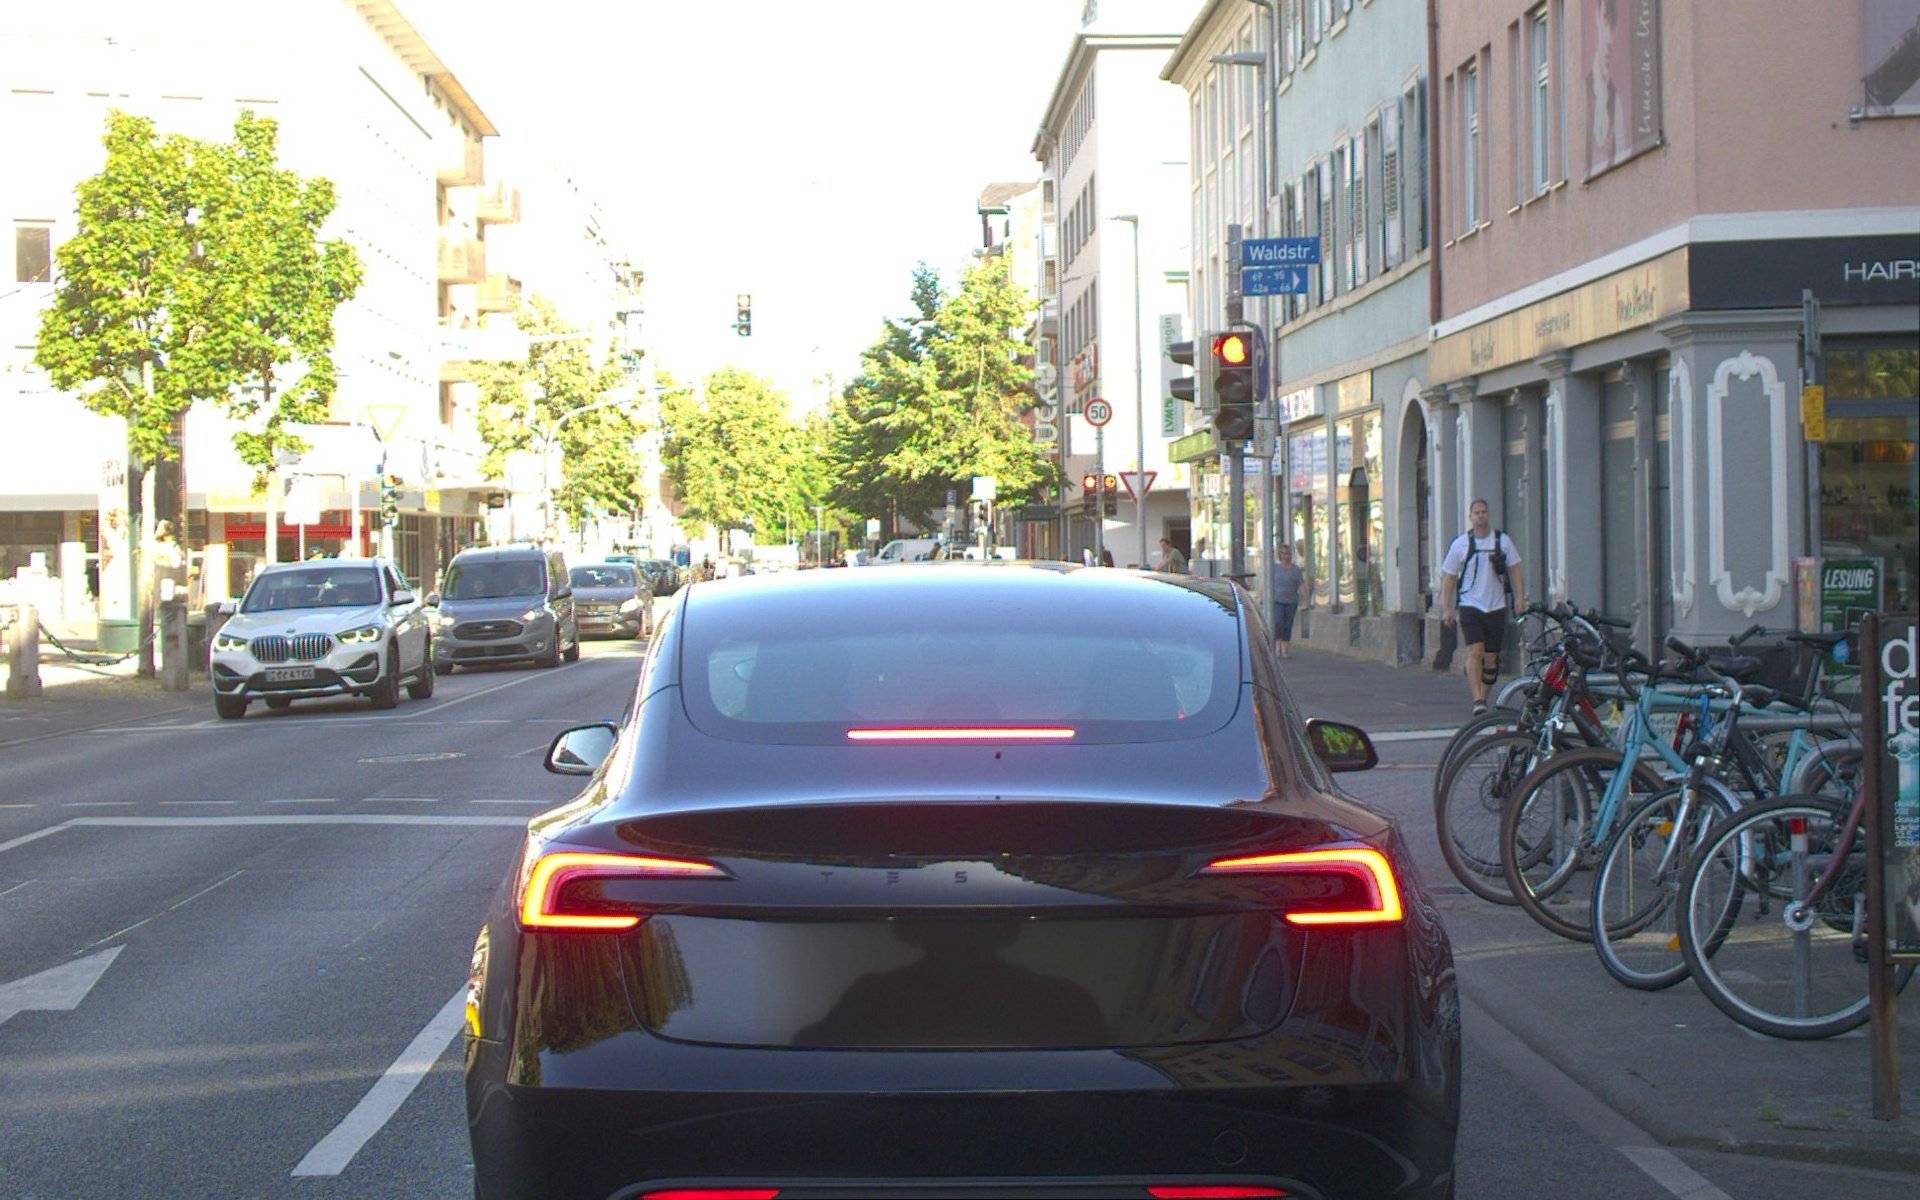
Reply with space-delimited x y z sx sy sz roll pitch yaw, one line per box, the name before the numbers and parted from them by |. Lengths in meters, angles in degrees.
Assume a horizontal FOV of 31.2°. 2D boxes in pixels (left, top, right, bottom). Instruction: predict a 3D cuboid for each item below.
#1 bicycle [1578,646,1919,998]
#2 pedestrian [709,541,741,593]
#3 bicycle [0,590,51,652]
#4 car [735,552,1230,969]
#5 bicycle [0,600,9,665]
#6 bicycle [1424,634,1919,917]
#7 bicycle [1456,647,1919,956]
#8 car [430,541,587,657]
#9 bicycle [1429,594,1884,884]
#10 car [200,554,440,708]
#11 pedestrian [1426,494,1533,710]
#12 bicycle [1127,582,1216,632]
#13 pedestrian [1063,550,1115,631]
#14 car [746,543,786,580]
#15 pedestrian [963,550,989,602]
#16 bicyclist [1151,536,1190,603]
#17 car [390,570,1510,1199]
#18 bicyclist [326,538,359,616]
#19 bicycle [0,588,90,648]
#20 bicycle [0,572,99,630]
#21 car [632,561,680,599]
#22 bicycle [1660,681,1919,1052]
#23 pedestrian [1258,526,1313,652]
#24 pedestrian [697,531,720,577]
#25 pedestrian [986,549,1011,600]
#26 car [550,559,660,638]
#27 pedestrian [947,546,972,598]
bicycle | 2.994 0.700 11.152 1.873 1.084 0.414 -2 0 4
pedestrian | -7.611 -1.080 111.371 0.848 1.689 0.717 0 1 13
bicycle | -14.803 0.312 52.177 1.864 0.931 0.606 0 1 -1
car | 0.011 0.532 13.823 1.718 1.420 3.758 0 1 -2
bicycle | -14.796 0.464 49.826 1.864 0.931 0.606 1 0 -1
bicycle | 2.814 0.687 13.626 1.873 1.034 0.547 -2 0 5
bicycle | 2.777 0.718 12.451 1.873 1.034 0.533 -2 0 4
car | -6.616 -0.048 50.738 1.787 1.640 4.403 0 1 -1
bicycle | 2.964 0.590 14.745 1.828 1.165 0.505 -2 0 5
car | -6.659 0.291 36.133 1.789 1.455 3.757 -2 1 0
pedestrian | 4.352 0.011 28.842 0.750 1.759 0.836 -2 0 4
bicycle | 4.387 0.148 71.338 1.784 1.003 0.472 1 0 -16
pedestrian | 2.610 -0.190 69.529 0.754 1.626 0.956 1 0 -18
car | -10.532 -2.101 187.120 1.993 2.007 4.000 0 1 -1
pedestrian | 0.449 -0.665 94.738 0.521 1.417 0.479 1 0 -30
bicyclist | 4.361 -0.633 71.331 0.669 1.390 0.462 1 0 -16
car | -0.039 0.655 7.601 1.822 1.437 4.000 0 1 -1
bicyclist | -11.870 -0.439 66.080 0.522 1.498 0.476 1 0 -24
bicycle | -14.831 0.287 54.626 1.864 0.931 0.606 0 1 -1
bicycle | -20.771 0.019 77.910 2.361 1.291 0.513 1 0 -26
car | -12.911 -0.853 146.099 1.706 1.546 3.697 0 1 0
bicycle | 3.020 0.753 9.991 1.873 1.034 0.353 -2 0 6
pedestrian | 4.503 -0.153 47.554 0.706 1.736 0.540 0 1 -1
pedestrian | -11.021 -1.996 150.617 0.919 2.007 0.933 0 1 -1
pedestrian | 1.072 -0.713 95.551 0.521 1.417 0.479 1 0 -30
car | -6.711 -0.046 65.274 1.715 1.441 3.845 1 1 -1
pedestrian | -0.009 -0.776 95.435 0.472 1.412 0.522 1 0 -31
